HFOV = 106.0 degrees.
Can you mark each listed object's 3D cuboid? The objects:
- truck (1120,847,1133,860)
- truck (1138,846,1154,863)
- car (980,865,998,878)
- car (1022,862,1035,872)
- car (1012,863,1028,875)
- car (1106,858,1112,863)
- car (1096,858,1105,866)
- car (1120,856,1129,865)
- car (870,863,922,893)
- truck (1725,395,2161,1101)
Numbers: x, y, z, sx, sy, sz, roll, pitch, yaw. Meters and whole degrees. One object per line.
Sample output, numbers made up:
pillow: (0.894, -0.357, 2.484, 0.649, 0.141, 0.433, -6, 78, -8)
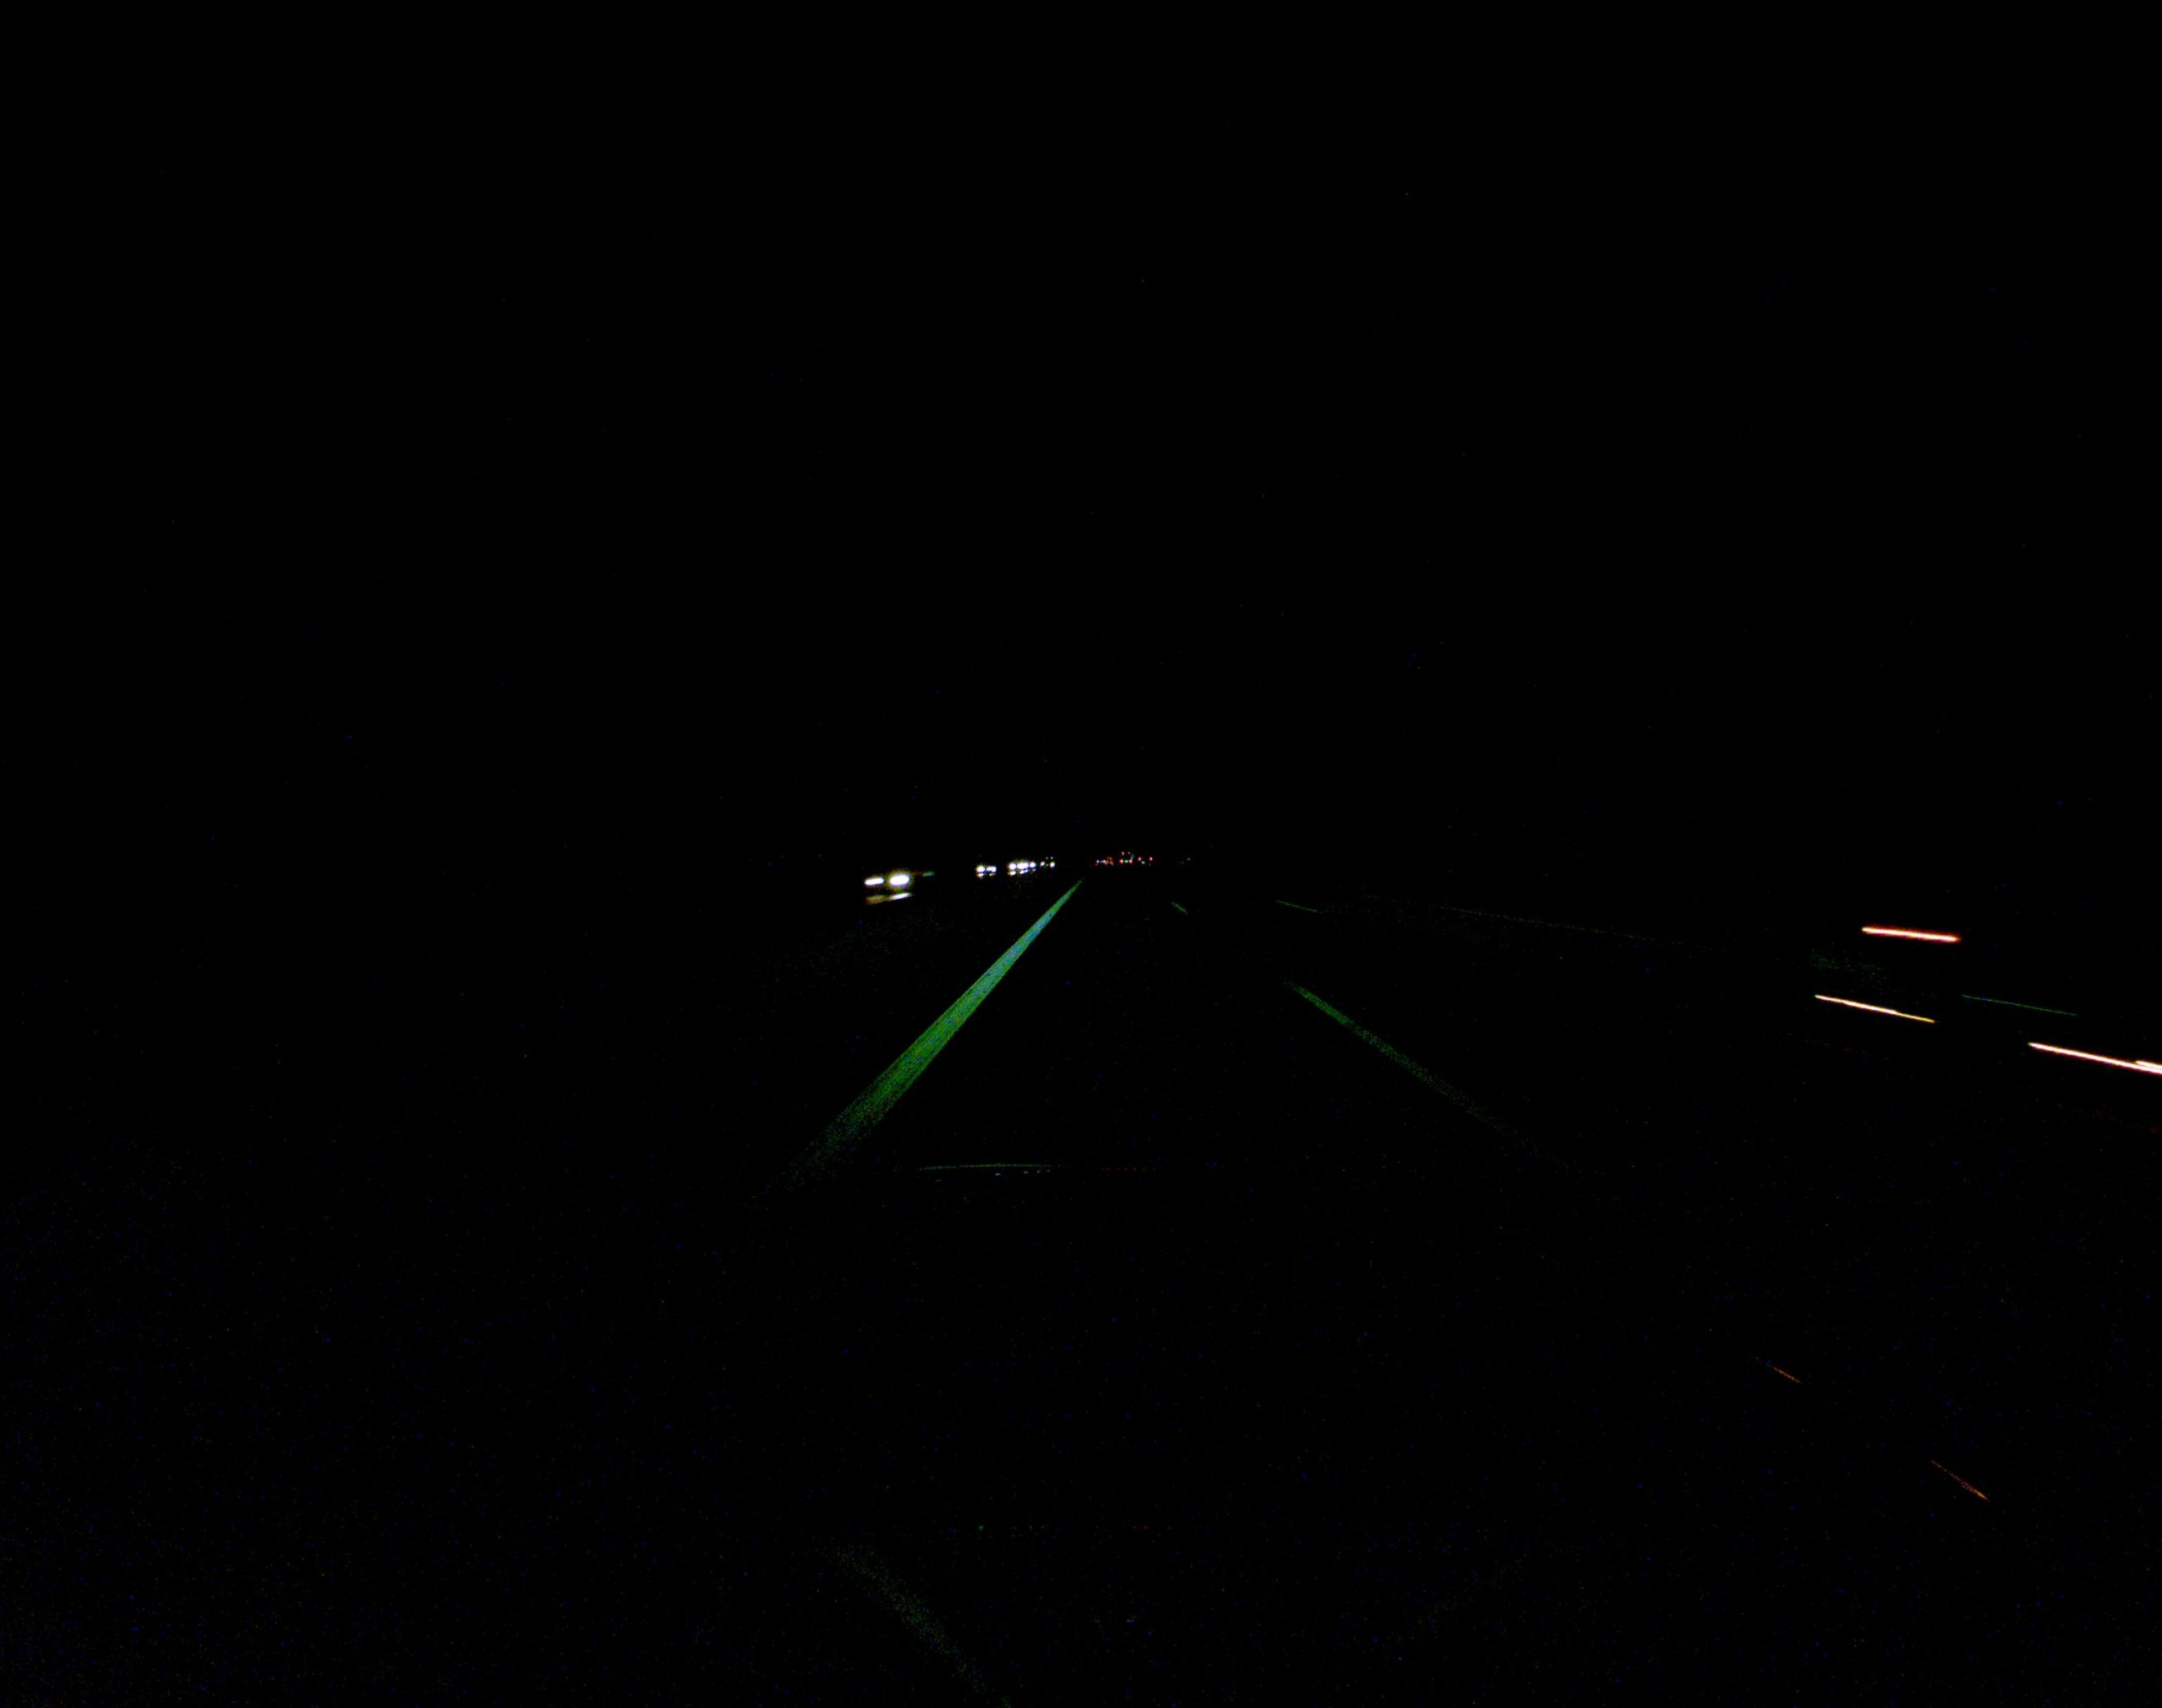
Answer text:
truck: (11.948, -0.029, 216.279, 3.033, 3.325, 10.143, 0, 0, 1)
truck: (10.610, 0.069, 133.281, 2.070, 2.691, 7.305, 0, 0, -1)
car: (-12.389, 2.359, 109.966, 1.744, 1.478, 4.582, -3, 0, 0)
car: (-8.638, 2.092, 134.455, 1.744, 1.478, 4.582, -3, 0, 0)
car: (-8.554, 2.055, 114.487, 1.744, 1.478, 4.582, -3, 0, 0)
car: (8.053, 1.871, 233.197, 1.814, 1.466, 4.248, 0, 0, 1)
car: (3.793, 1.612, 159.664, 1.814, 1.466, 4.248, 0, 0, 1)
car: (7.025, 1.089, 132.057, 1.341, 1.387, 3.502, 0, 0, 1)
car: (-10.269, 1.304, 45.565, 1.744, 1.478, 4.582, -3, 0, 0)
truck: (7.507, -0.609, 4.162, 2.581, 4.072, 7.676, 0, 0, 2)
